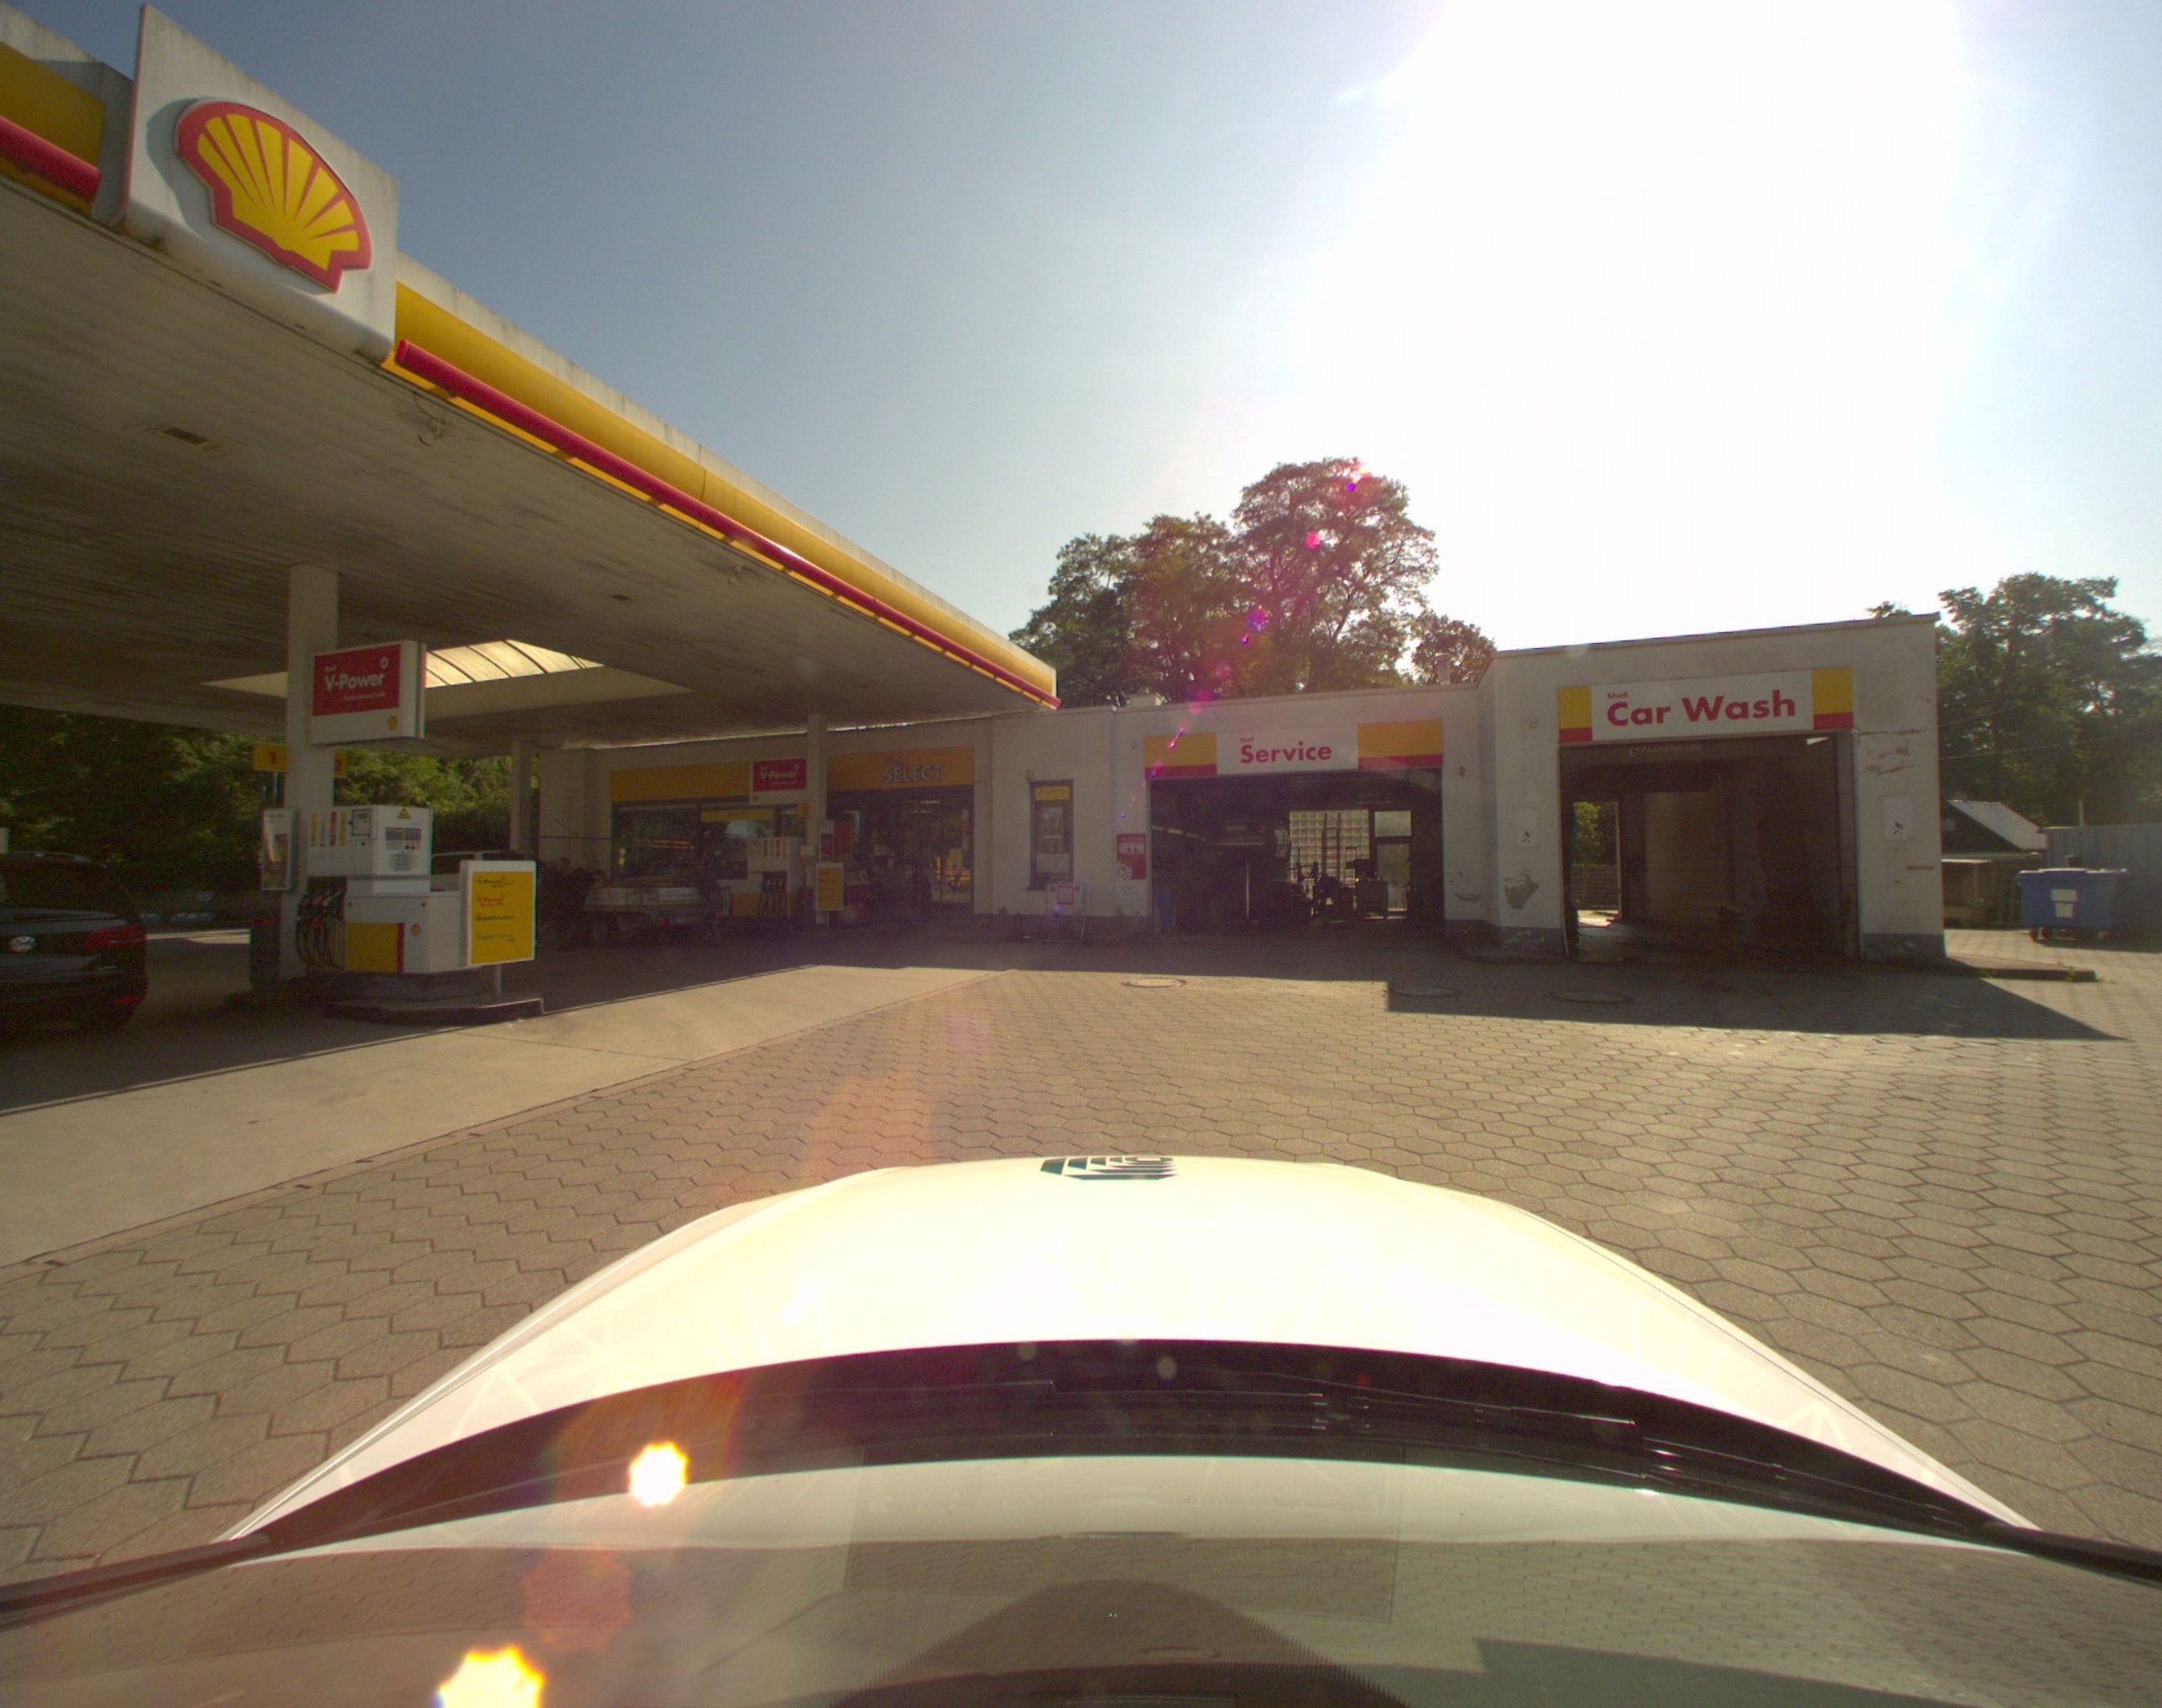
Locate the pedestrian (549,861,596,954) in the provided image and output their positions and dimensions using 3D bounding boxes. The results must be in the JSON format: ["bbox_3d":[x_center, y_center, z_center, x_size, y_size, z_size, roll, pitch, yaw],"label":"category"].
[{"bbox_3d":[-8.937,0.929,14.322,0.470,1.593,0.503,-1,-2,23],"label":"pedestrian"}]

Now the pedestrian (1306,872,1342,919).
[{"bbox_3d":[6.408,1.097,21.473,0.856,1.198,0.746,-1,-4,18],"label":"pedestrian"}]

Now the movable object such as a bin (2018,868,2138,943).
[{"bbox_3d":[18.458,0.924,15.097,0.851,1.325,1.224,0,-2,-27],"label":"movable object such as a bin"}]

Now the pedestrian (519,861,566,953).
[{"bbox_3d":[-9.724,0.942,14.713,0.470,1.632,0.503,-1,-2,23],"label":"pedestrian"}]

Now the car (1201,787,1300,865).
[{"bbox_3d":[4.188,-0.577,19.678,1.632,1.486,4.020,-2,-4,22],"label":"car"}]

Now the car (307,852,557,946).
[{"bbox_3d":[-13.951,0.934,17.536,4.726,1.838,1.866,-1,-2,18],"label":"car"}]

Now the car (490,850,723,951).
[{"bbox_3d":[-9.076,0.864,15.605,3.951,1.728,1.843,-2,-2,23],"label":"car"}]

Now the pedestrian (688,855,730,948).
[{"bbox_3d":[-6.843,0.859,14.991,0.495,1.668,0.478,-1,-2,21],"label":"pedestrian"}]

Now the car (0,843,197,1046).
[{"bbox_3d":[-10.166,0.738,7.144,3.834,1.578,1.773,-1,-2,18],"label":"car"}]

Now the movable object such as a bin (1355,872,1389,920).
[{"bbox_3d":[7.632,1.099,21.367,0.790,1.236,0.547,-2,-4,21],"label":"movable object such as a bin"}]
